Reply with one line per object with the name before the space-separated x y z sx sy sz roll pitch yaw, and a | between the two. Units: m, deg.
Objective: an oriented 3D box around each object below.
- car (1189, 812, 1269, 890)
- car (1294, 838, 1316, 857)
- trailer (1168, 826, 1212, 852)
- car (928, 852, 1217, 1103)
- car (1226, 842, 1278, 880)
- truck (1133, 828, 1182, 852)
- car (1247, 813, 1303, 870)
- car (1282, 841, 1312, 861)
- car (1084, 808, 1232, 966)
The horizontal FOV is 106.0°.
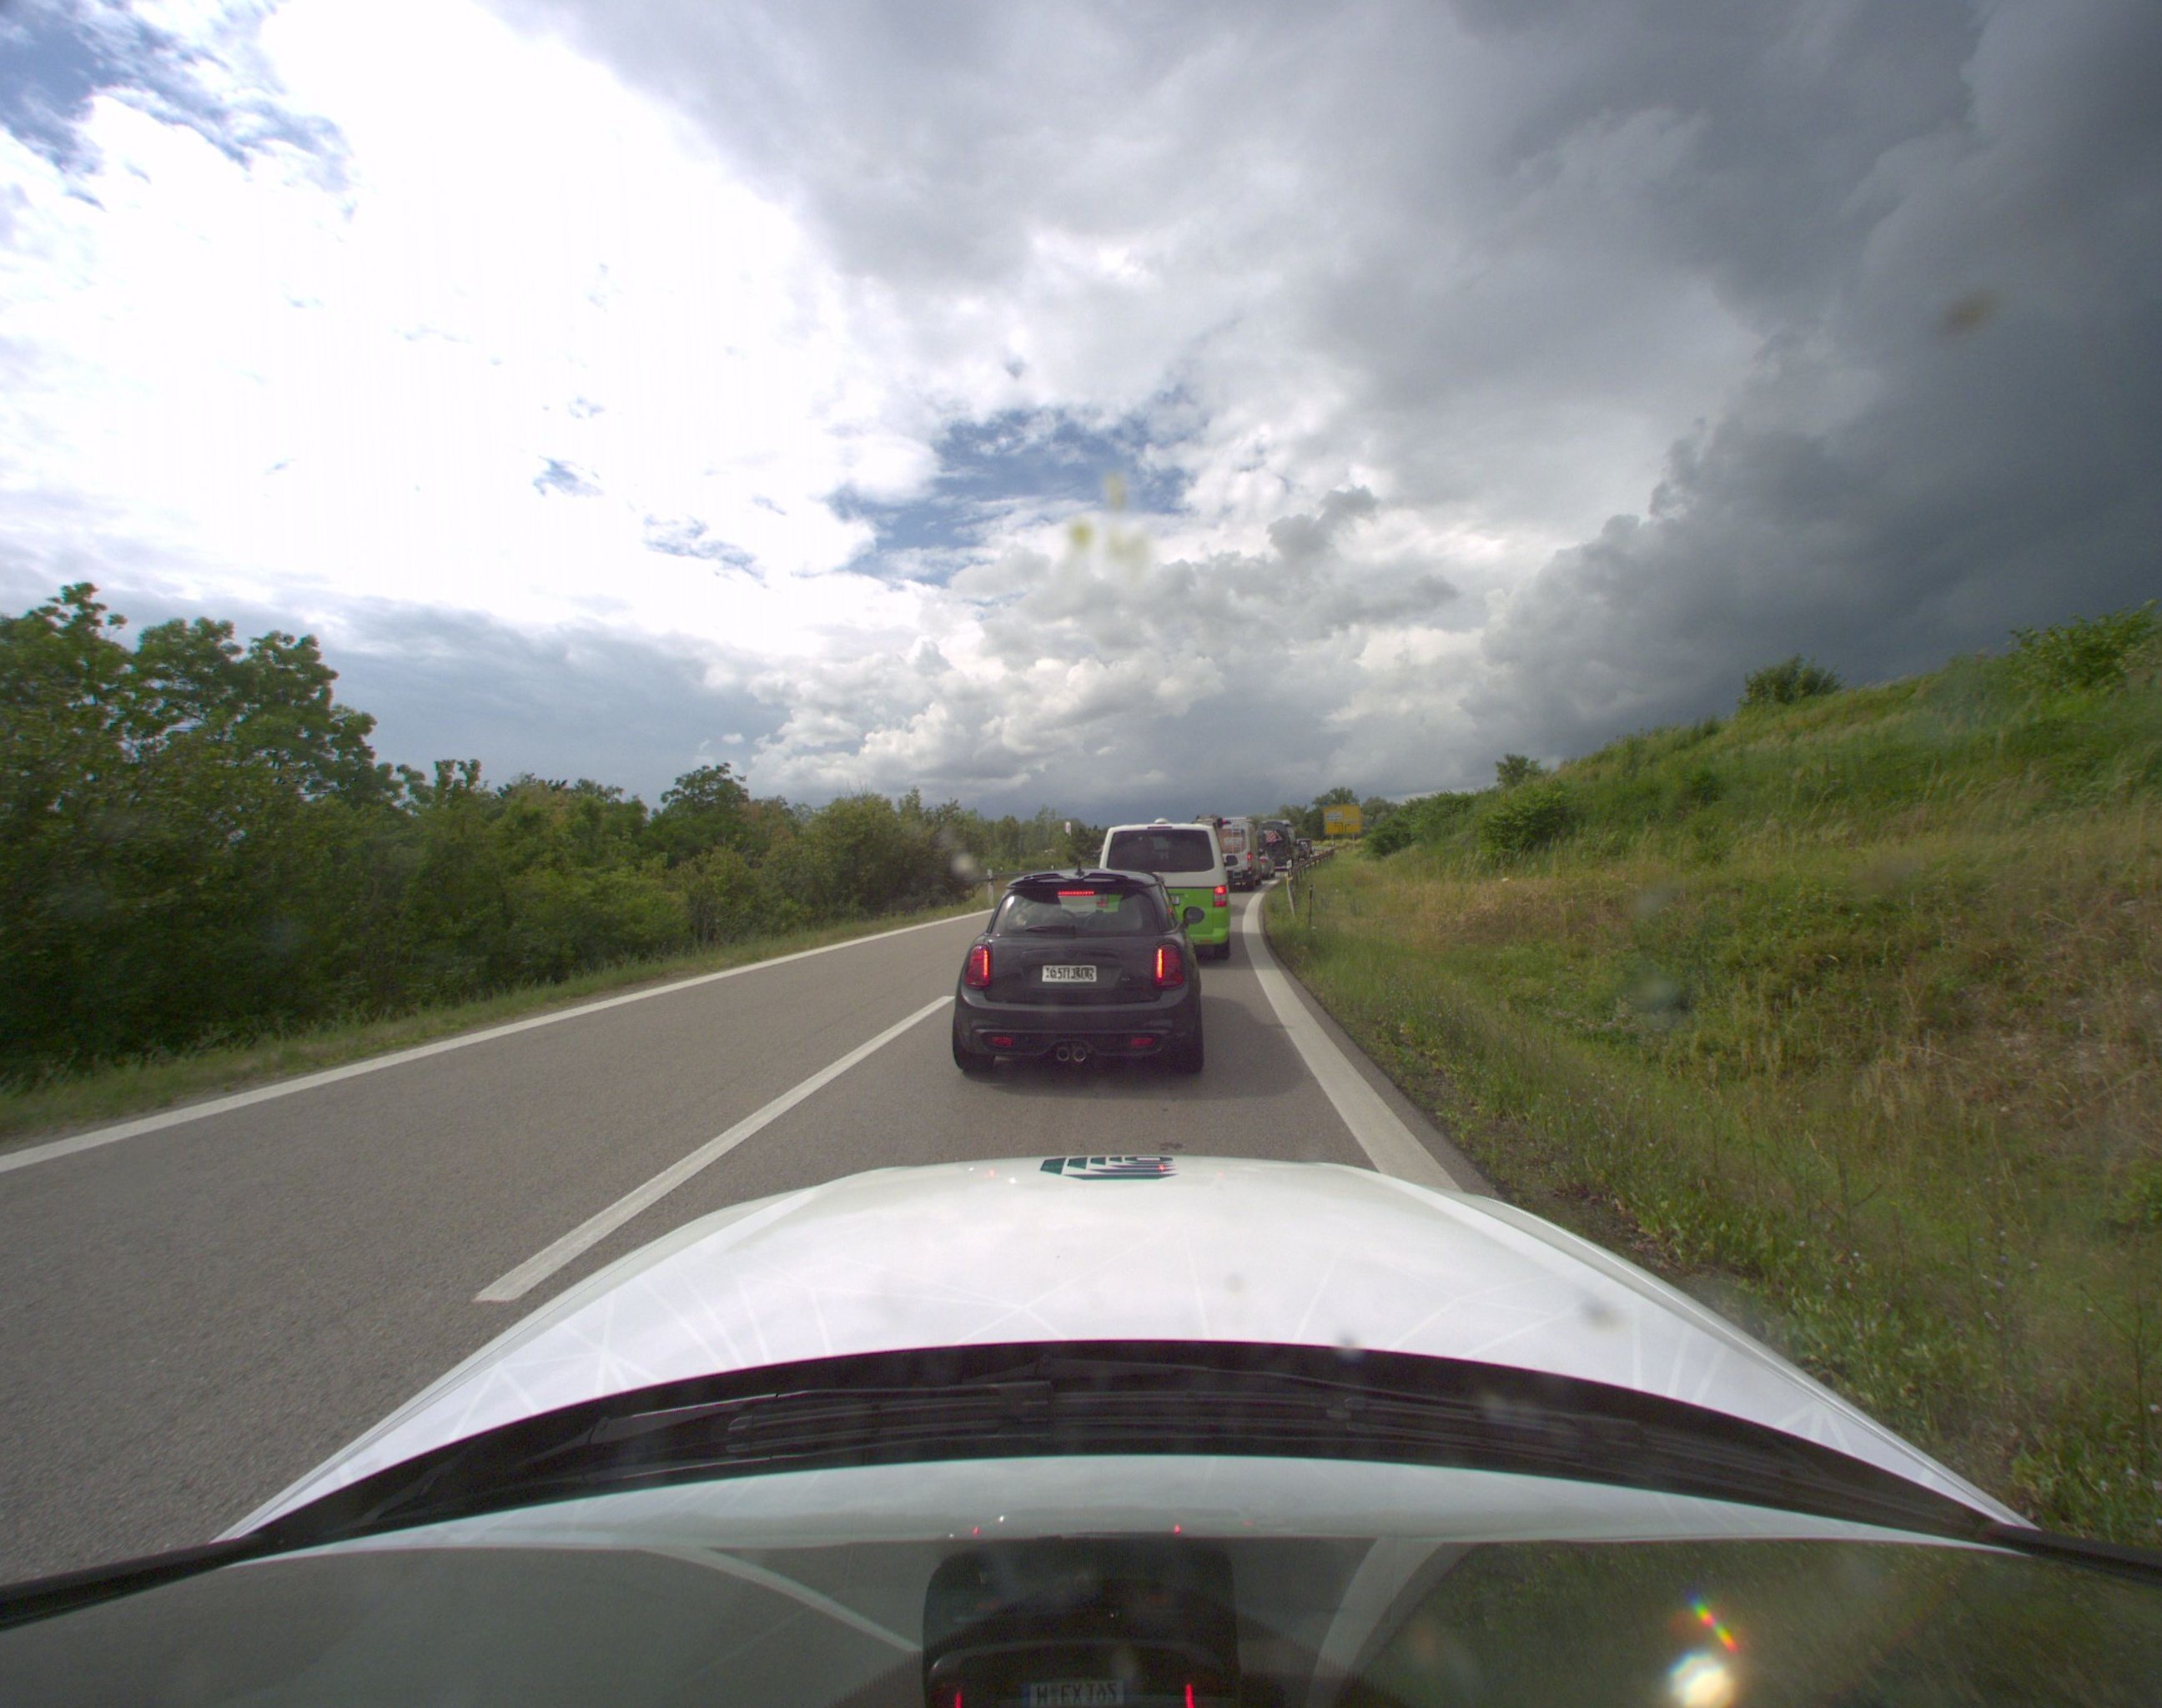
car | 5.582 -0.073 30.138 2.194 2.622 5.559 -1 -1 18
car | 23.812 -0.671 86.780 2.080 1.883 4.511 -1 -1 13
trailer | 17.692 -2.390 132.839 3.049 3.898 8.704 0 -1 -23
car | 0.129 0.772 6.966 1.790 1.546 3.745 -1 0 6
car | 7.979 0.326 37.748 1.978 1.642 3.946 -1 -1 17
truck | 13.126 -2.358 140.815 2.856 3.976 9.924 0 -1 -34
car | 11.432 -0.641 47.612 2.291 3.069 6.696 -1 -1 21
car | 17.340 -0.207 65.366 1.877 1.588 4.518 -1 -1 20
car | 1.381 0.440 12.763 1.899 2.045 4.193 -1 0 10
